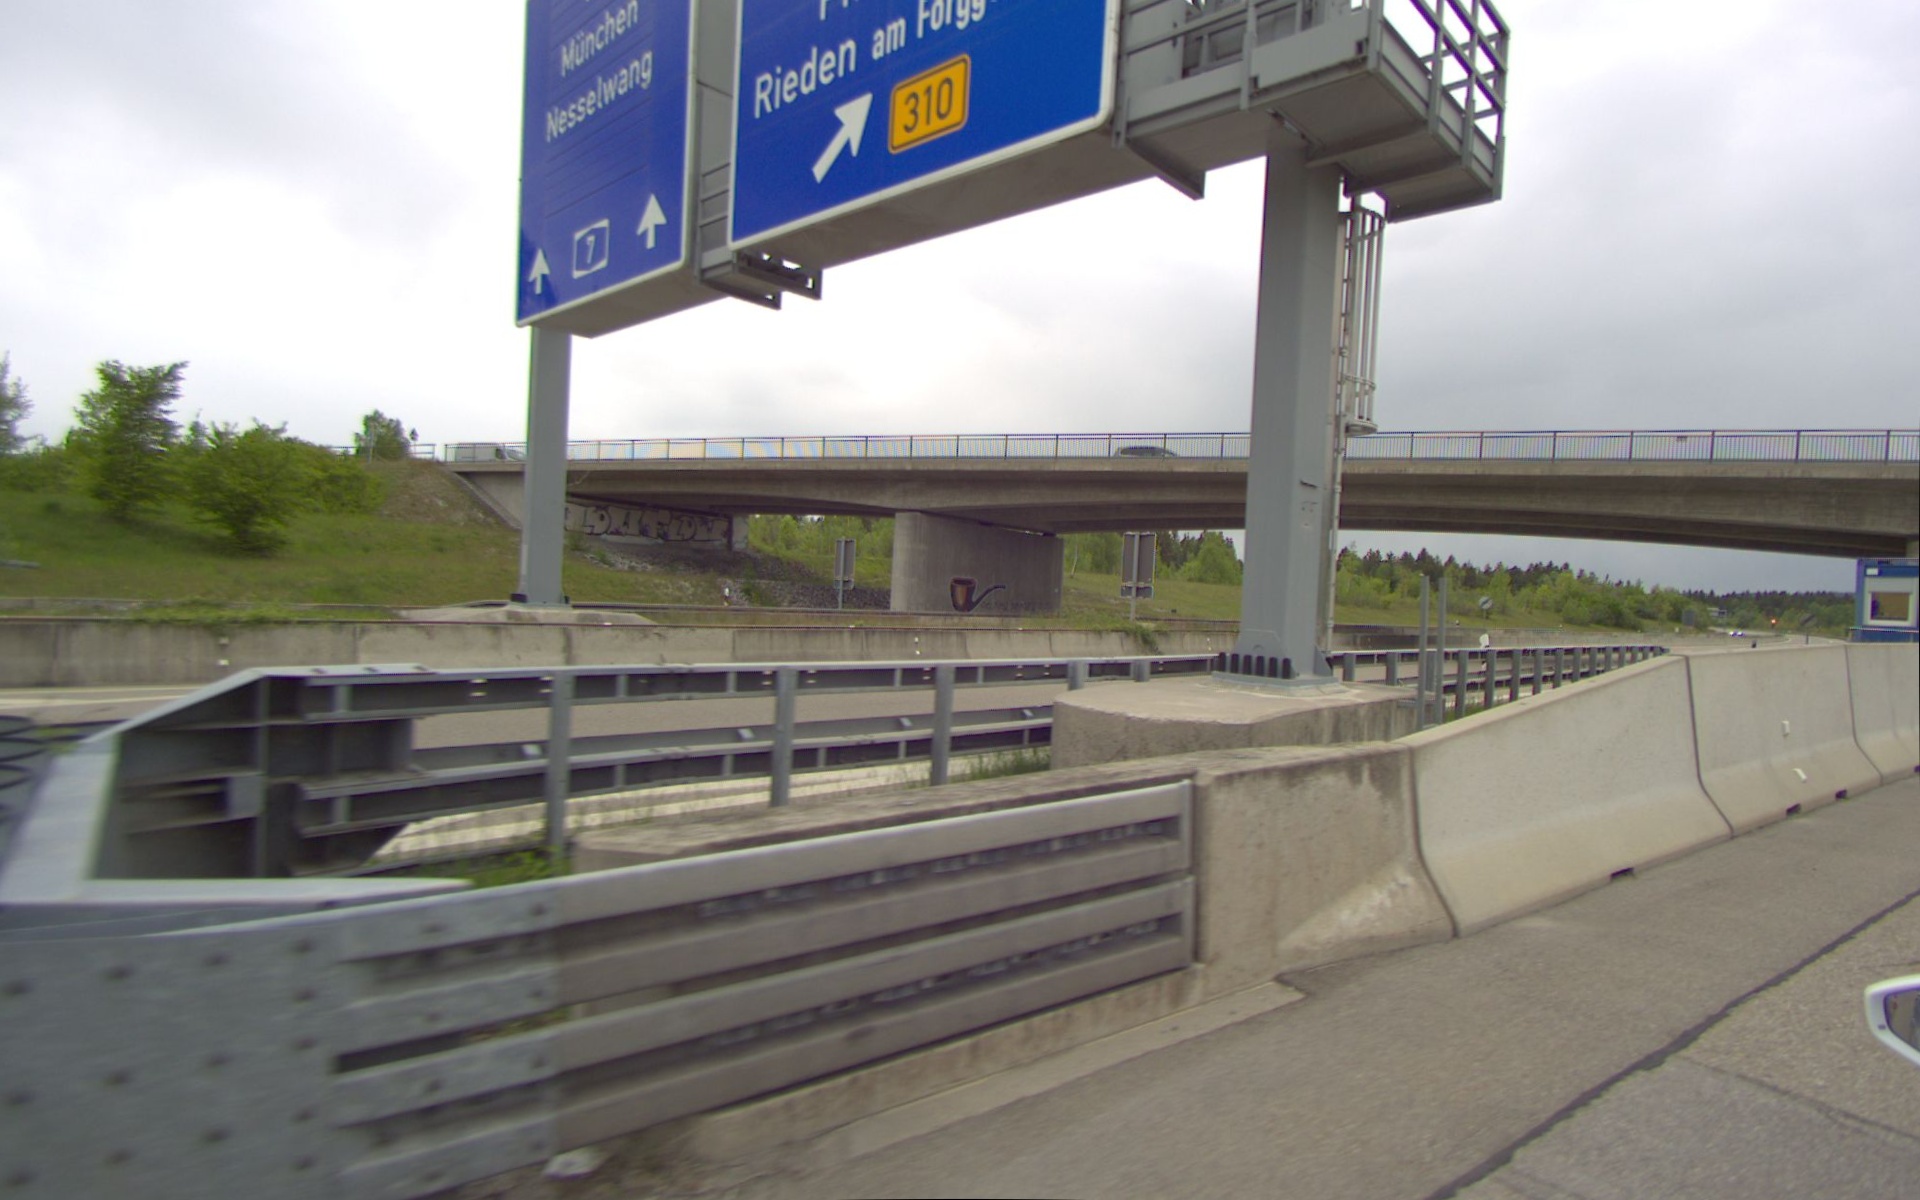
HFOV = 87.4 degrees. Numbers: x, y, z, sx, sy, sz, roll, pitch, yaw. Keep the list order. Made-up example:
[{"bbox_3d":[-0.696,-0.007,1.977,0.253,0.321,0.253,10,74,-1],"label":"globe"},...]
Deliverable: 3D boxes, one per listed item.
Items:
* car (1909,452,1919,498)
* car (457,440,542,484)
[{"bbox_3d":[39.251,-4.835,37.690,4.843,1.669,1.999,1,-1,23],"label":"car"},{"bbox_3d":[-31.232,-9.308,68.158,5.642,2.281,1.999,-1,-2,24],"label":"car"}]
